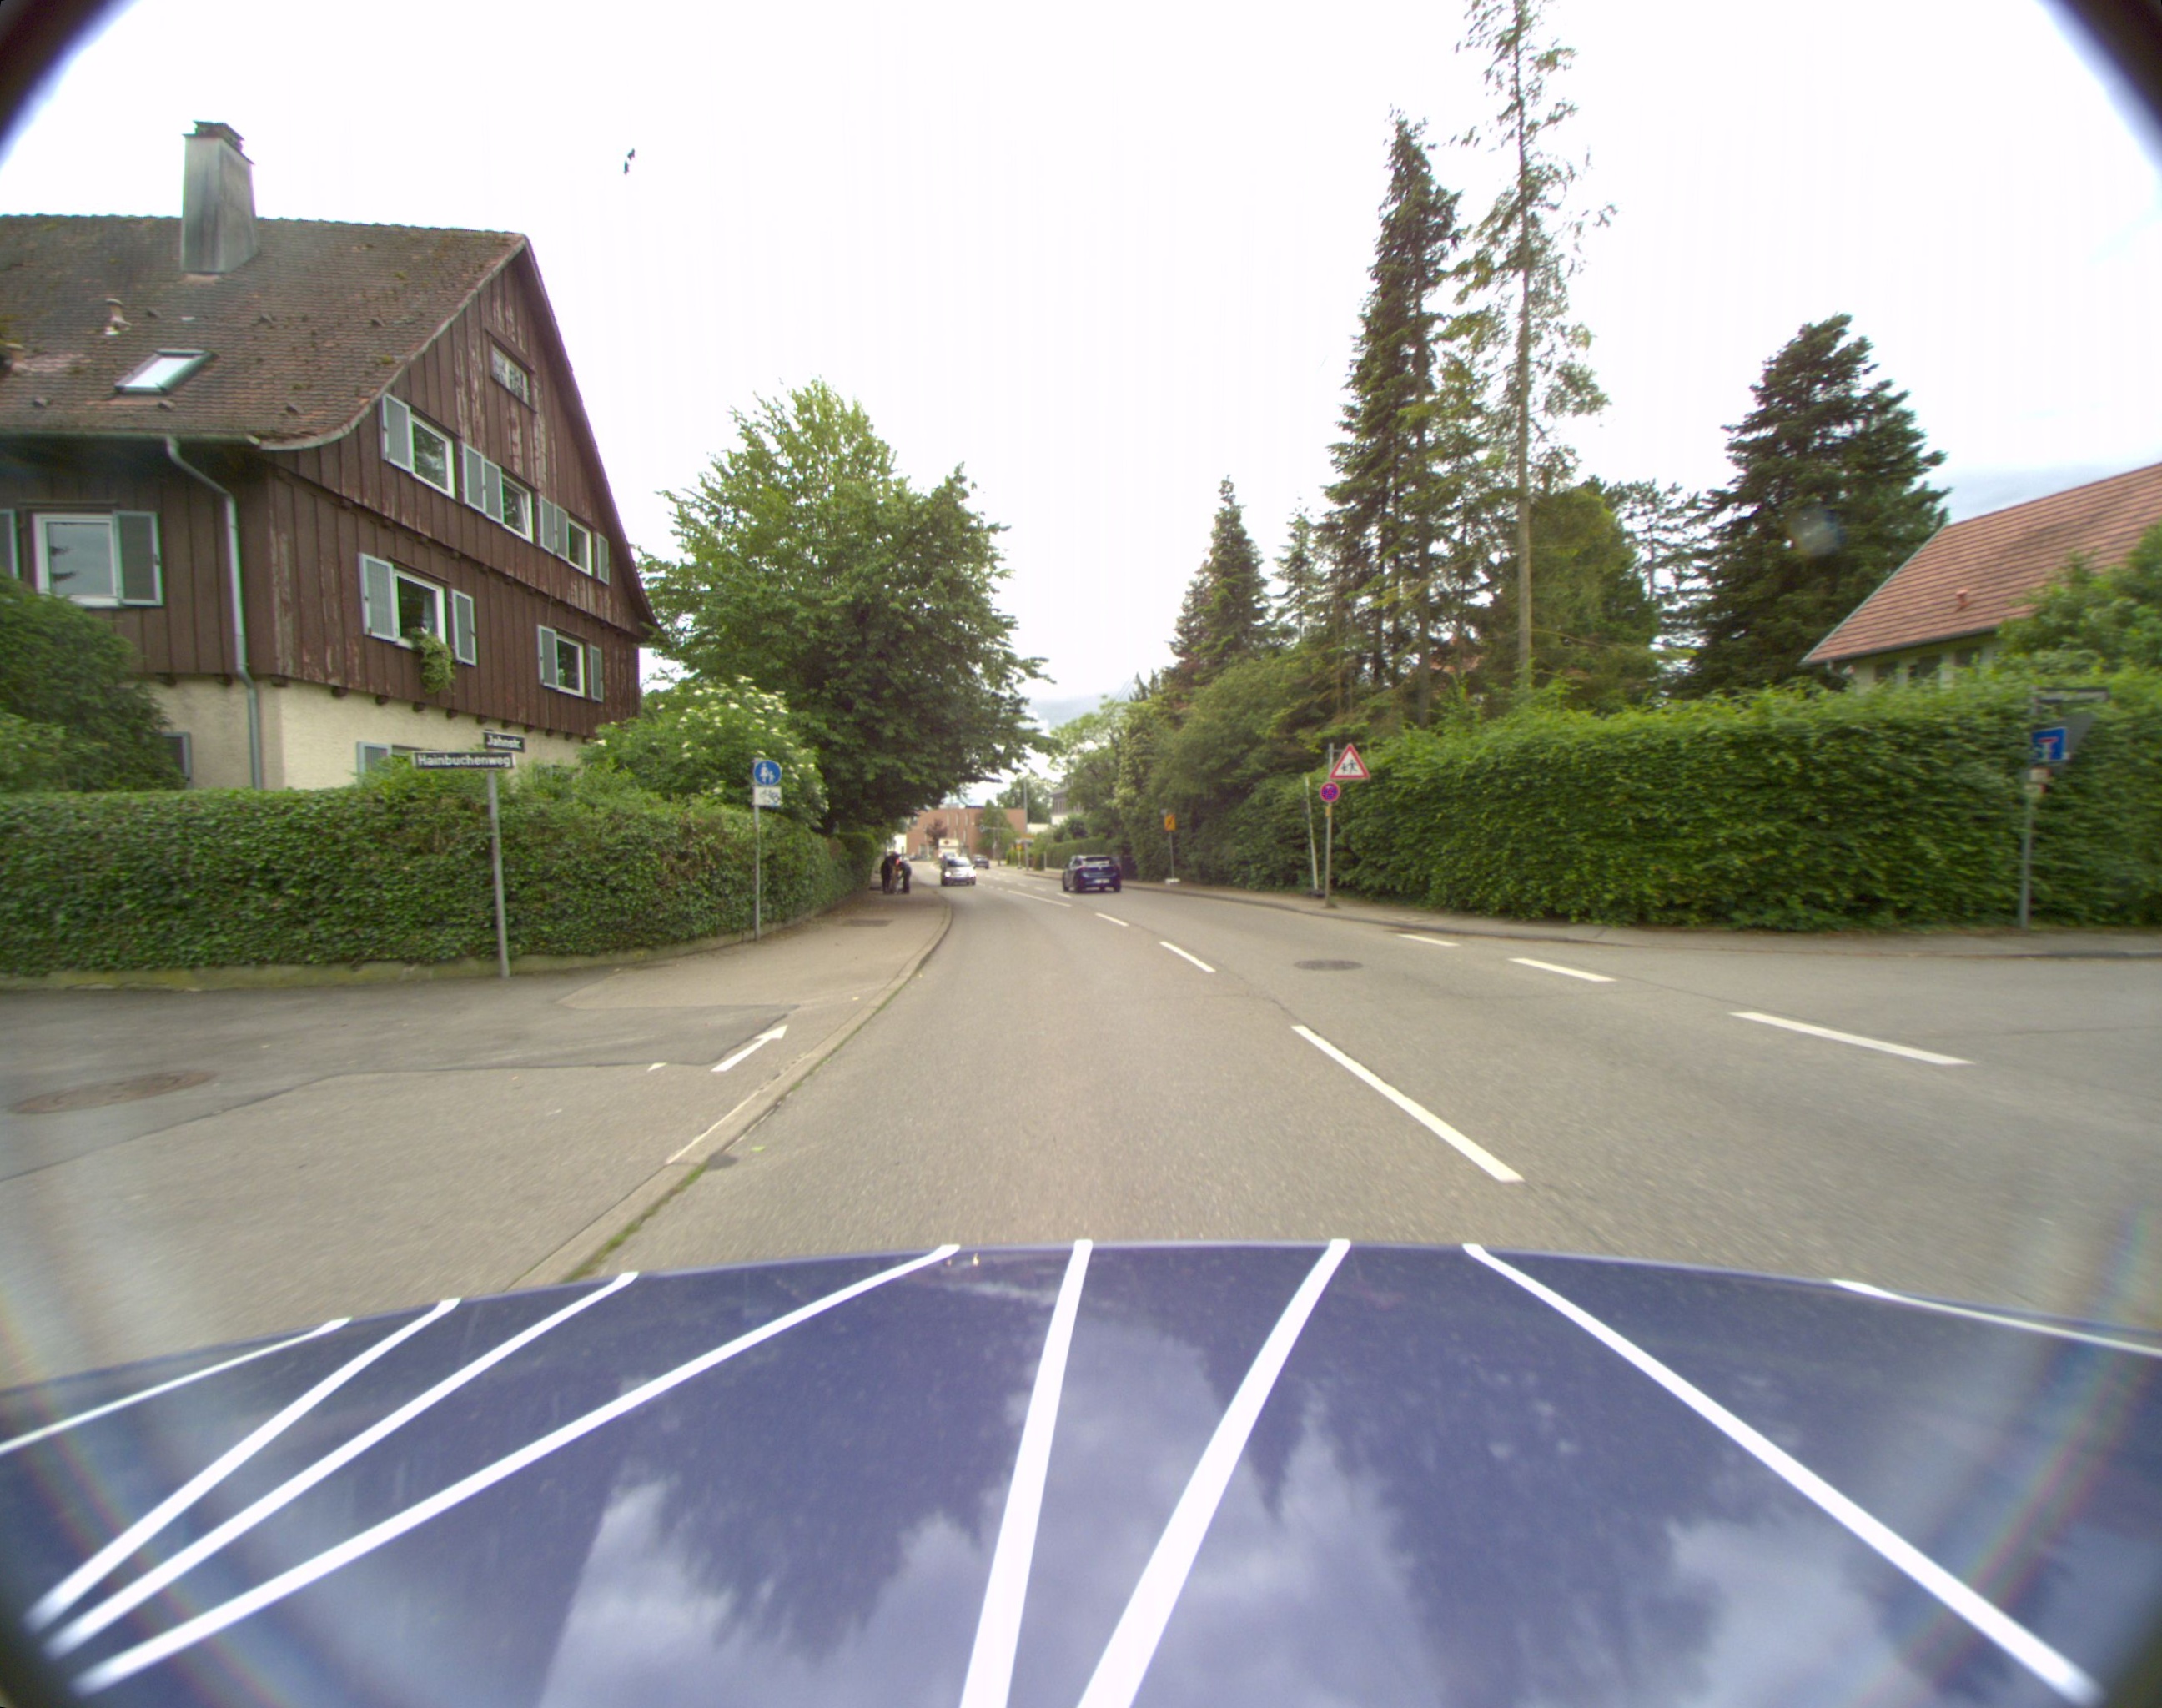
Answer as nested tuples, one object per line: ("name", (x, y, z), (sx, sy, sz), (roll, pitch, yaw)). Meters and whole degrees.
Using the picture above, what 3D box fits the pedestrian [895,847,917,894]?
("pedestrian", (-6.781, 0.641, 29.455), (0.600, 1.797, 0.519), (0, 1, 27))

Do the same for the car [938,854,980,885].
("car", (-6.871, 0.828, 42.429), (2.001, 1.587, 3.995), (-1, 1, -14))

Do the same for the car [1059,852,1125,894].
("car", (0.352, 0.682, 29.752), (1.763, 1.430, 4.089), (-4, 1, -10))

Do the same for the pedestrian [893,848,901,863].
("pedestrian", (-24.773, 0.203, 102.466), (0.850, 1.912, 0.799), (-1, 1, -34))

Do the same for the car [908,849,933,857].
("car", (-32.286, -0.249, 152.903), (4.445, 1.549, 1.995), (0, 0, -38))

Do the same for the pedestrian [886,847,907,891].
("pedestrian", (-7.653, 0.624, 31.431), (0.810, 1.797, 0.740), (-1, 1, -15))

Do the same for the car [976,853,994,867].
("car", (-10.458, 0.601, 82.754), (1.686, 1.463, 4.013), (-1, 0, -11))

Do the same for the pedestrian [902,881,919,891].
("pedestrian", (-7.267, 1.372, 32.437), (0.675, 0.391, 0.740), (-1, 0, -15))

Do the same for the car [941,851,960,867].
("car", (-14.865, 0.519, 86.292), (1.812, 1.707, 4.373), (-1, 0, -13))

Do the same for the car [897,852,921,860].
("car", (-35.225, 0.462, 155.728), (4.445, 1.549, 1.995), (0, 0, -38))

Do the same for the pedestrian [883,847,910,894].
("pedestrian", (-7.112, 0.616, 29.272), (0.671, 1.797, 0.692), (0, 1, 35))

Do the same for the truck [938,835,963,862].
("truck", (-17.399, -0.785, 100.828), (2.788, 3.442, 7.482), (-1, 2, -14))
